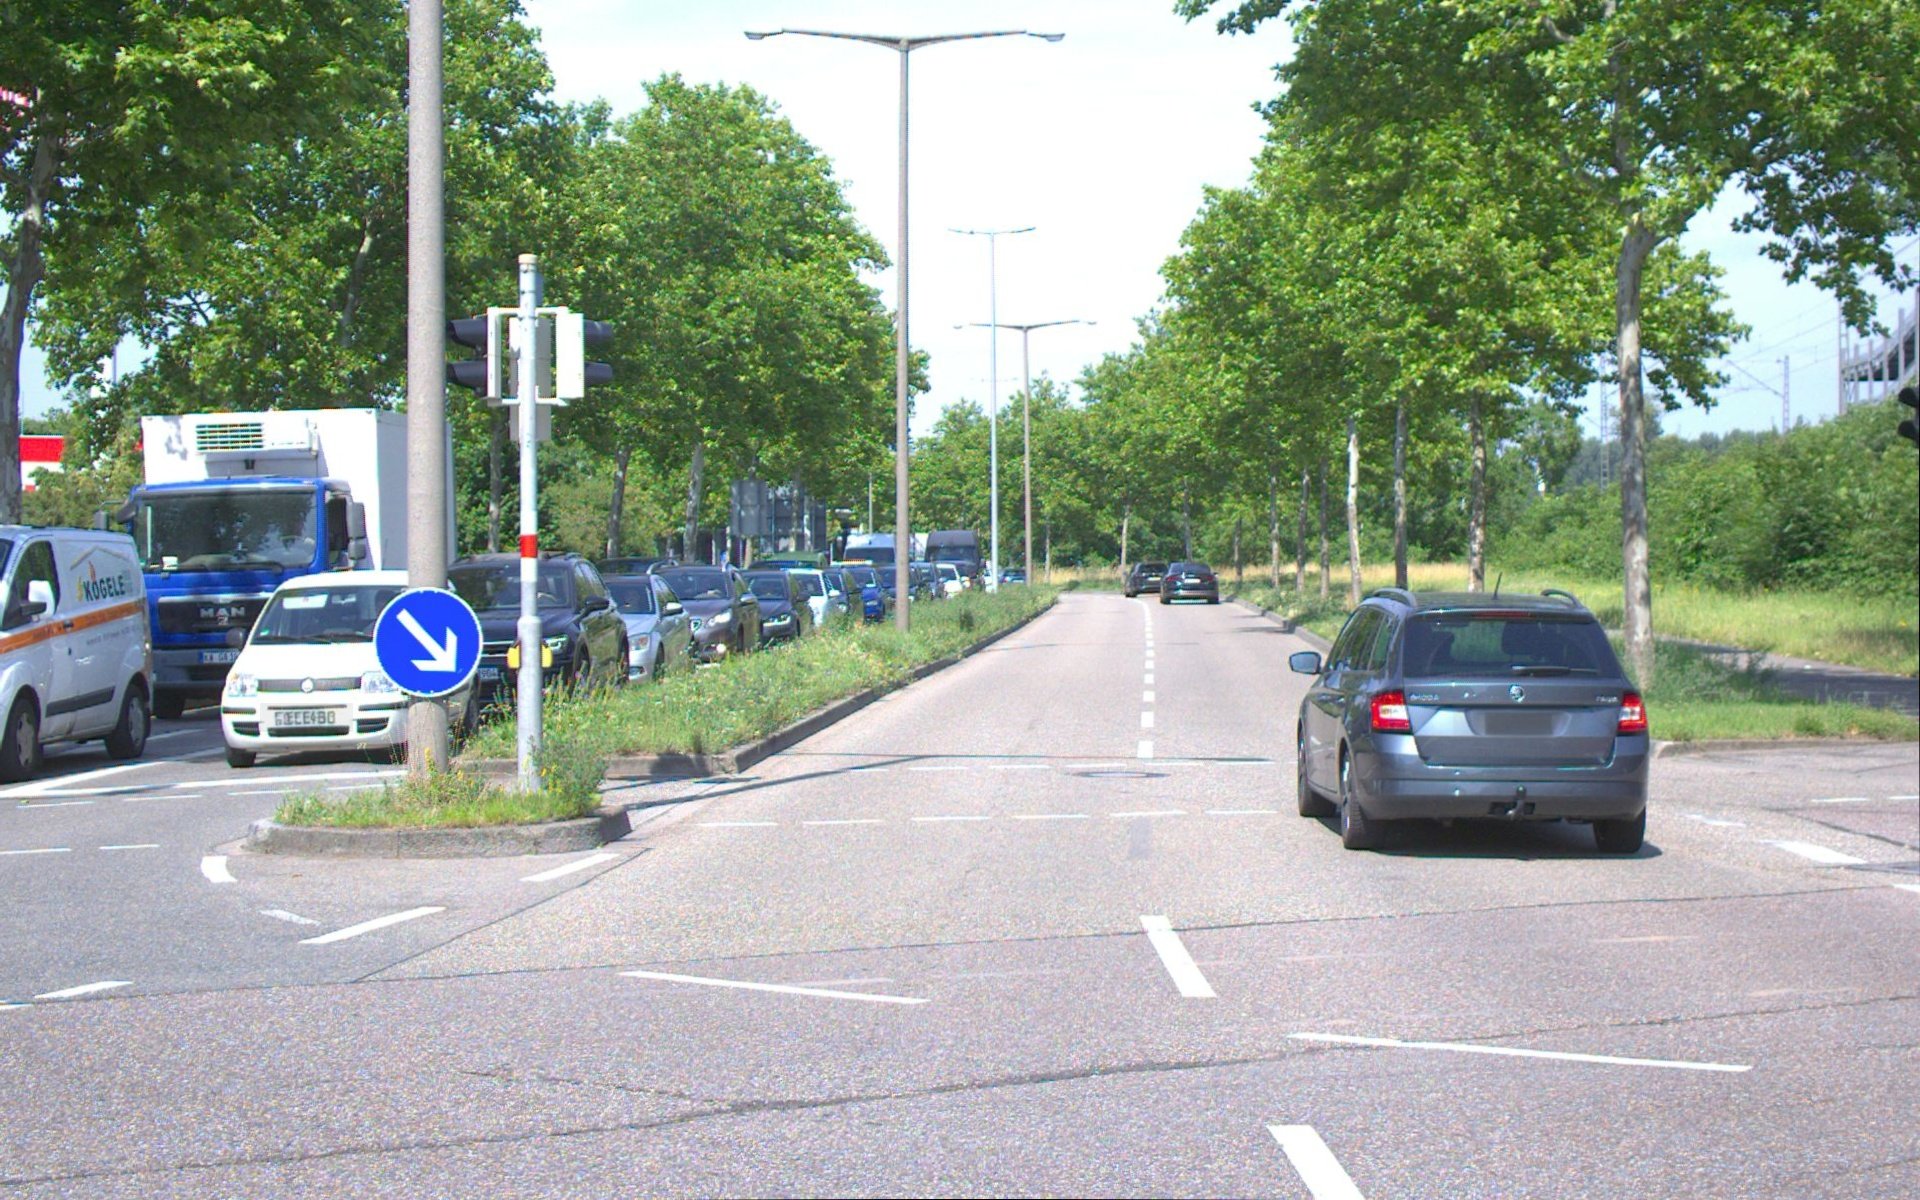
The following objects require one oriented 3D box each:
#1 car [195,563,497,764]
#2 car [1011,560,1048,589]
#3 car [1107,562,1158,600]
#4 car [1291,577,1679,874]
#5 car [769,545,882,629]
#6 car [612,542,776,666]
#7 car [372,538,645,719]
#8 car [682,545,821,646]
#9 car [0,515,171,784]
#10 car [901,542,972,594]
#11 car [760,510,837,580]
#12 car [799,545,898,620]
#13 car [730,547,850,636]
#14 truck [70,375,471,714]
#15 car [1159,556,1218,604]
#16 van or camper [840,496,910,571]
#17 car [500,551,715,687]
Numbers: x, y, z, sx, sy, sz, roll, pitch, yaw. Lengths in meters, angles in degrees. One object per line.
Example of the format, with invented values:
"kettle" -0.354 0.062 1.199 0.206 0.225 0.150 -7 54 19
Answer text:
"car" -4.950 0.466 28.148 1.593 1.472 3.729 -1 1 3
"car" 3.708 -1.383 183.940 1.908 1.458 4.583 0 2 0
"car" 7.233 -0.823 144.375 1.908 1.458 4.583 0 2 0
"car" 2.954 0.648 20.115 1.674 1.448 4.036 2 1 1
"car" -2.615 -0.280 67.802 1.758 1.525 4.827 -1 1 3
"car" -3.622 0.017 47.487 1.689 1.581 4.240 -1 1 3
"car" -4.376 0.258 33.989 1.820 1.641 4.693 -1 0 3
"car" -3.279 -0.096 54.736 1.689 1.468 4.218 -2 1 3
"car" -7.983 0.324 27.281 1.976 1.992 5.031 0 1 4
"car" -0.655 -0.956 100.519 1.784 1.454 4.472 -1 1 3
"car" -4.410 -1.504 94.245 1.689 1.852 4.036 -1 1 3
"car" -2.338 -0.394 73.001 1.784 1.484 4.211 -1 1 2
"car" -2.953 -0.168 60.322 1.689 1.467 3.814 -1 1 3
"truck" -7.675 -0.666 39.234 2.804 3.459 6.691 -2 1 3
"car" 7.529 -0.675 113.540 1.908 1.458 4.621 1 2 3
"van or camper" -2.972 -2.362 121.754 2.015 2.579 5.517 -1 1 3
"car" -4.105 0.184 40.682 1.797 1.463 4.522 -1 1 4
